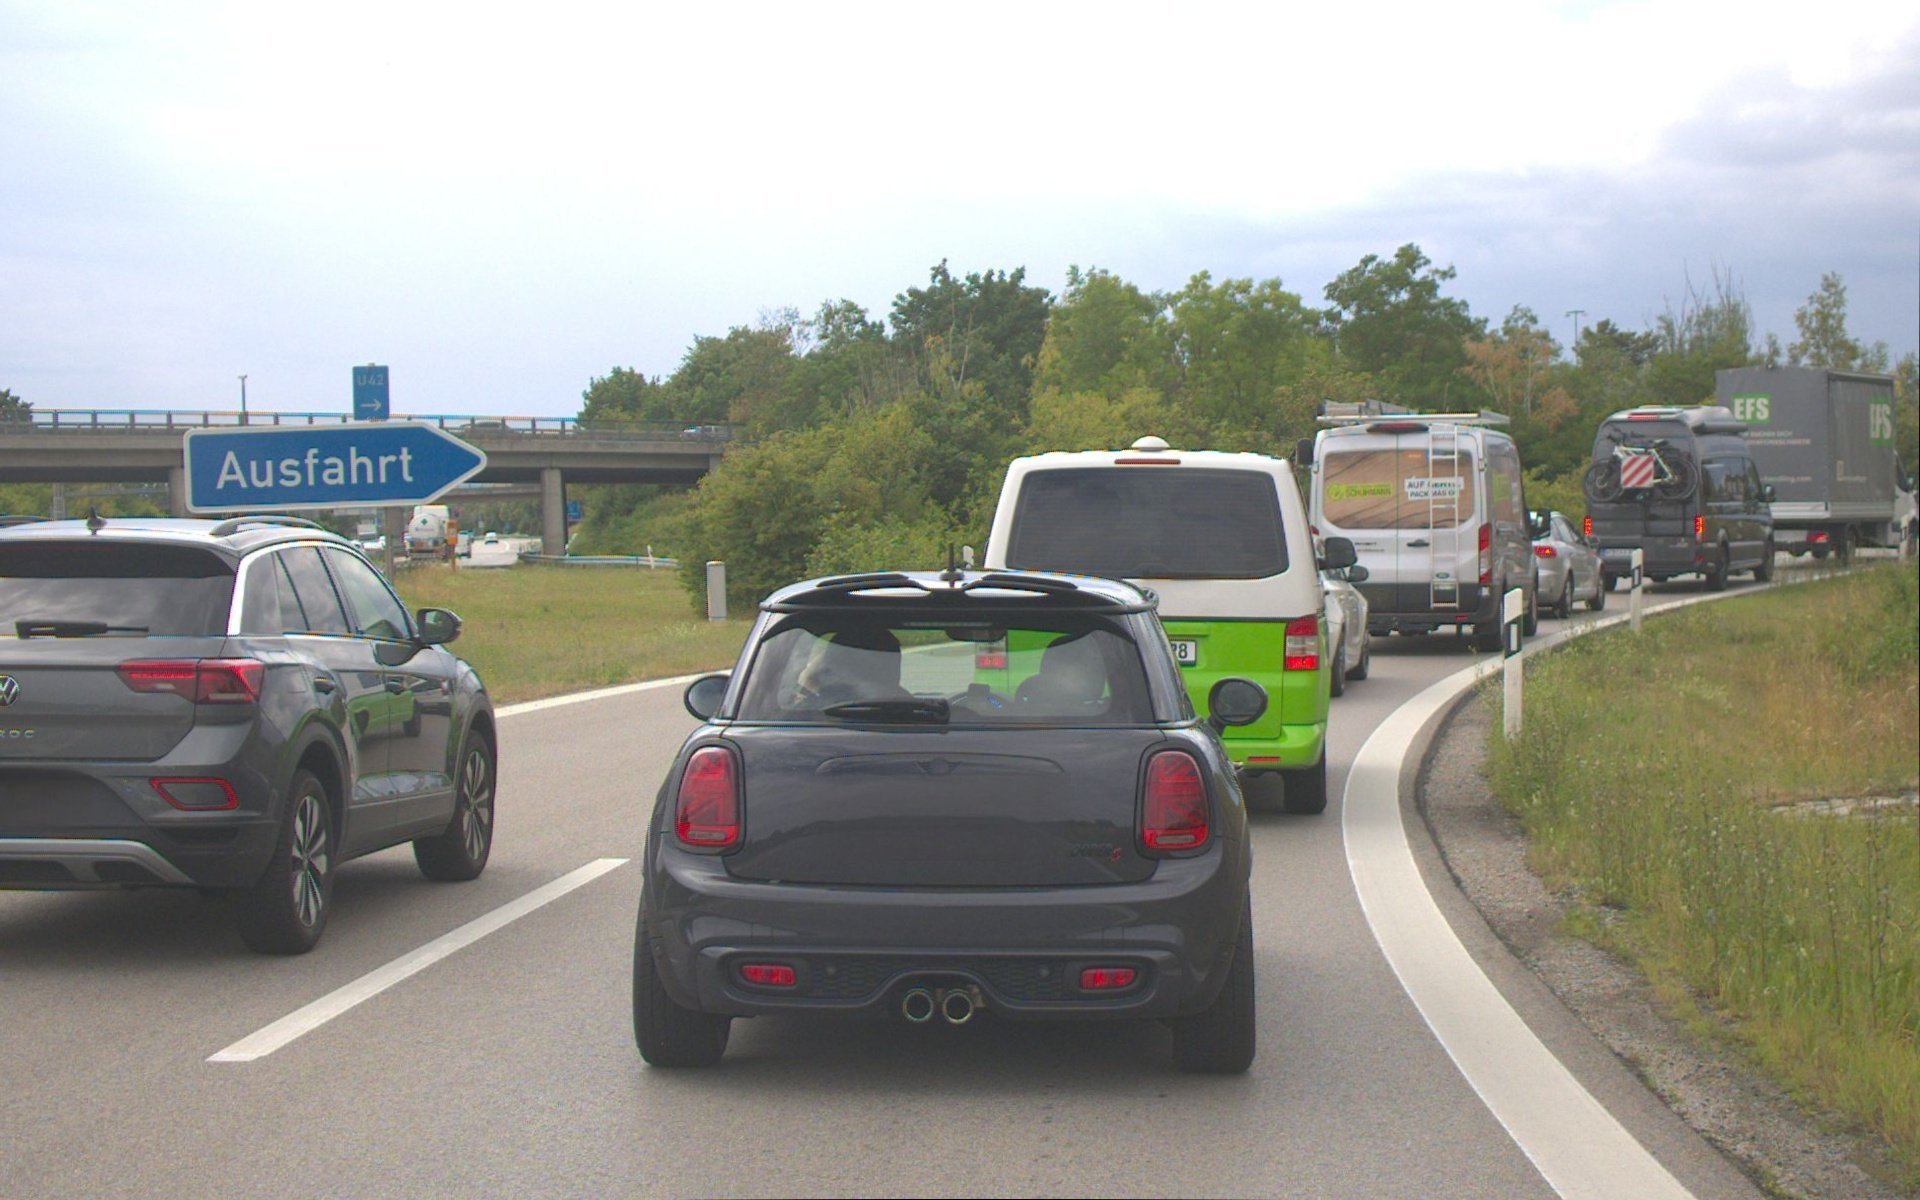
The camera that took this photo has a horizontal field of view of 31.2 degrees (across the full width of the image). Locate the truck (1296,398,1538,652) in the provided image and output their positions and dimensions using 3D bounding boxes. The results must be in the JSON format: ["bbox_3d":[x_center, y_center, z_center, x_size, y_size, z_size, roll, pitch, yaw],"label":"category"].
[{"bbox_3d":[5.218,-0.872,38.656,2.180,2.649,5.106,0,2,13],"label":"truck"}]

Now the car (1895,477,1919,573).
[{"bbox_3d":[21.549,-1.554,72.945,1.998,2.007,3.992,1,1,36],"label":"car"}]

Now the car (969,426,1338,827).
[{"bbox_3d":[1.185,0.085,19.302,1.785,2.007,3.999,0,1,7],"label":"car"}]

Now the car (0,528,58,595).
[{"bbox_3d":[-24.743,-1.006,88.661,2.095,1.665,4.307,-1,1,-4],"label":"car"}]

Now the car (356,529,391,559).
[{"bbox_3d":[-39.471,-3.745,231.426,1.993,1.961,4.001,1,1,-4],"label":"car"}]

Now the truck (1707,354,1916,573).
[{"bbox_3d":[16.074,-2.472,64.656,2.232,3.893,6.006,1,1,30],"label":"truck"}]

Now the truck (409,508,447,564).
[{"bbox_3d":[-34.044,-4.092,220.008,2.145,3.495,4.001,1,0,-6],"label":"truck"}]

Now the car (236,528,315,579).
[{"bbox_3d":[-23.153,-1.589,116.482,2.095,1.665,4.307,-1,1,-4],"label":"car"}]

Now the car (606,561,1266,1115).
[{"bbox_3d":[-0.008,0.600,10.869,1.727,1.409,3.725,0,1,2],"label":"car"}]

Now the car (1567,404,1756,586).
[{"bbox_3d":[11.249,-1.673,54.942,2.107,2.786,3.995,1,2,24],"label":"car"}]

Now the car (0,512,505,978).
[{"bbox_3d":[-3.089,0.466,13.486,1.796,1.550,3.960,0,1,4],"label":"car"}]

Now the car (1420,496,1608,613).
[{"bbox_3d":[7.553,-0.634,46.626,1.868,1.504,3.996,0,1,19],"label":"car"}]

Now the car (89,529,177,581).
[{"bbox_3d":[-27.335,-1.502,113.716,2.159,1.665,4.307,-1,1,-4],"label":"car"}]

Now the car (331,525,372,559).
[{"bbox_3d":[-36.575,-3.467,206.653,1.993,1.961,4.001,1,1,-4],"label":"car"}]

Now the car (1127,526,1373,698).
[{"bbox_3d":[2.599,0.065,30.098,1.763,1.394,3.723,0,1,11],"label":"car"}]
